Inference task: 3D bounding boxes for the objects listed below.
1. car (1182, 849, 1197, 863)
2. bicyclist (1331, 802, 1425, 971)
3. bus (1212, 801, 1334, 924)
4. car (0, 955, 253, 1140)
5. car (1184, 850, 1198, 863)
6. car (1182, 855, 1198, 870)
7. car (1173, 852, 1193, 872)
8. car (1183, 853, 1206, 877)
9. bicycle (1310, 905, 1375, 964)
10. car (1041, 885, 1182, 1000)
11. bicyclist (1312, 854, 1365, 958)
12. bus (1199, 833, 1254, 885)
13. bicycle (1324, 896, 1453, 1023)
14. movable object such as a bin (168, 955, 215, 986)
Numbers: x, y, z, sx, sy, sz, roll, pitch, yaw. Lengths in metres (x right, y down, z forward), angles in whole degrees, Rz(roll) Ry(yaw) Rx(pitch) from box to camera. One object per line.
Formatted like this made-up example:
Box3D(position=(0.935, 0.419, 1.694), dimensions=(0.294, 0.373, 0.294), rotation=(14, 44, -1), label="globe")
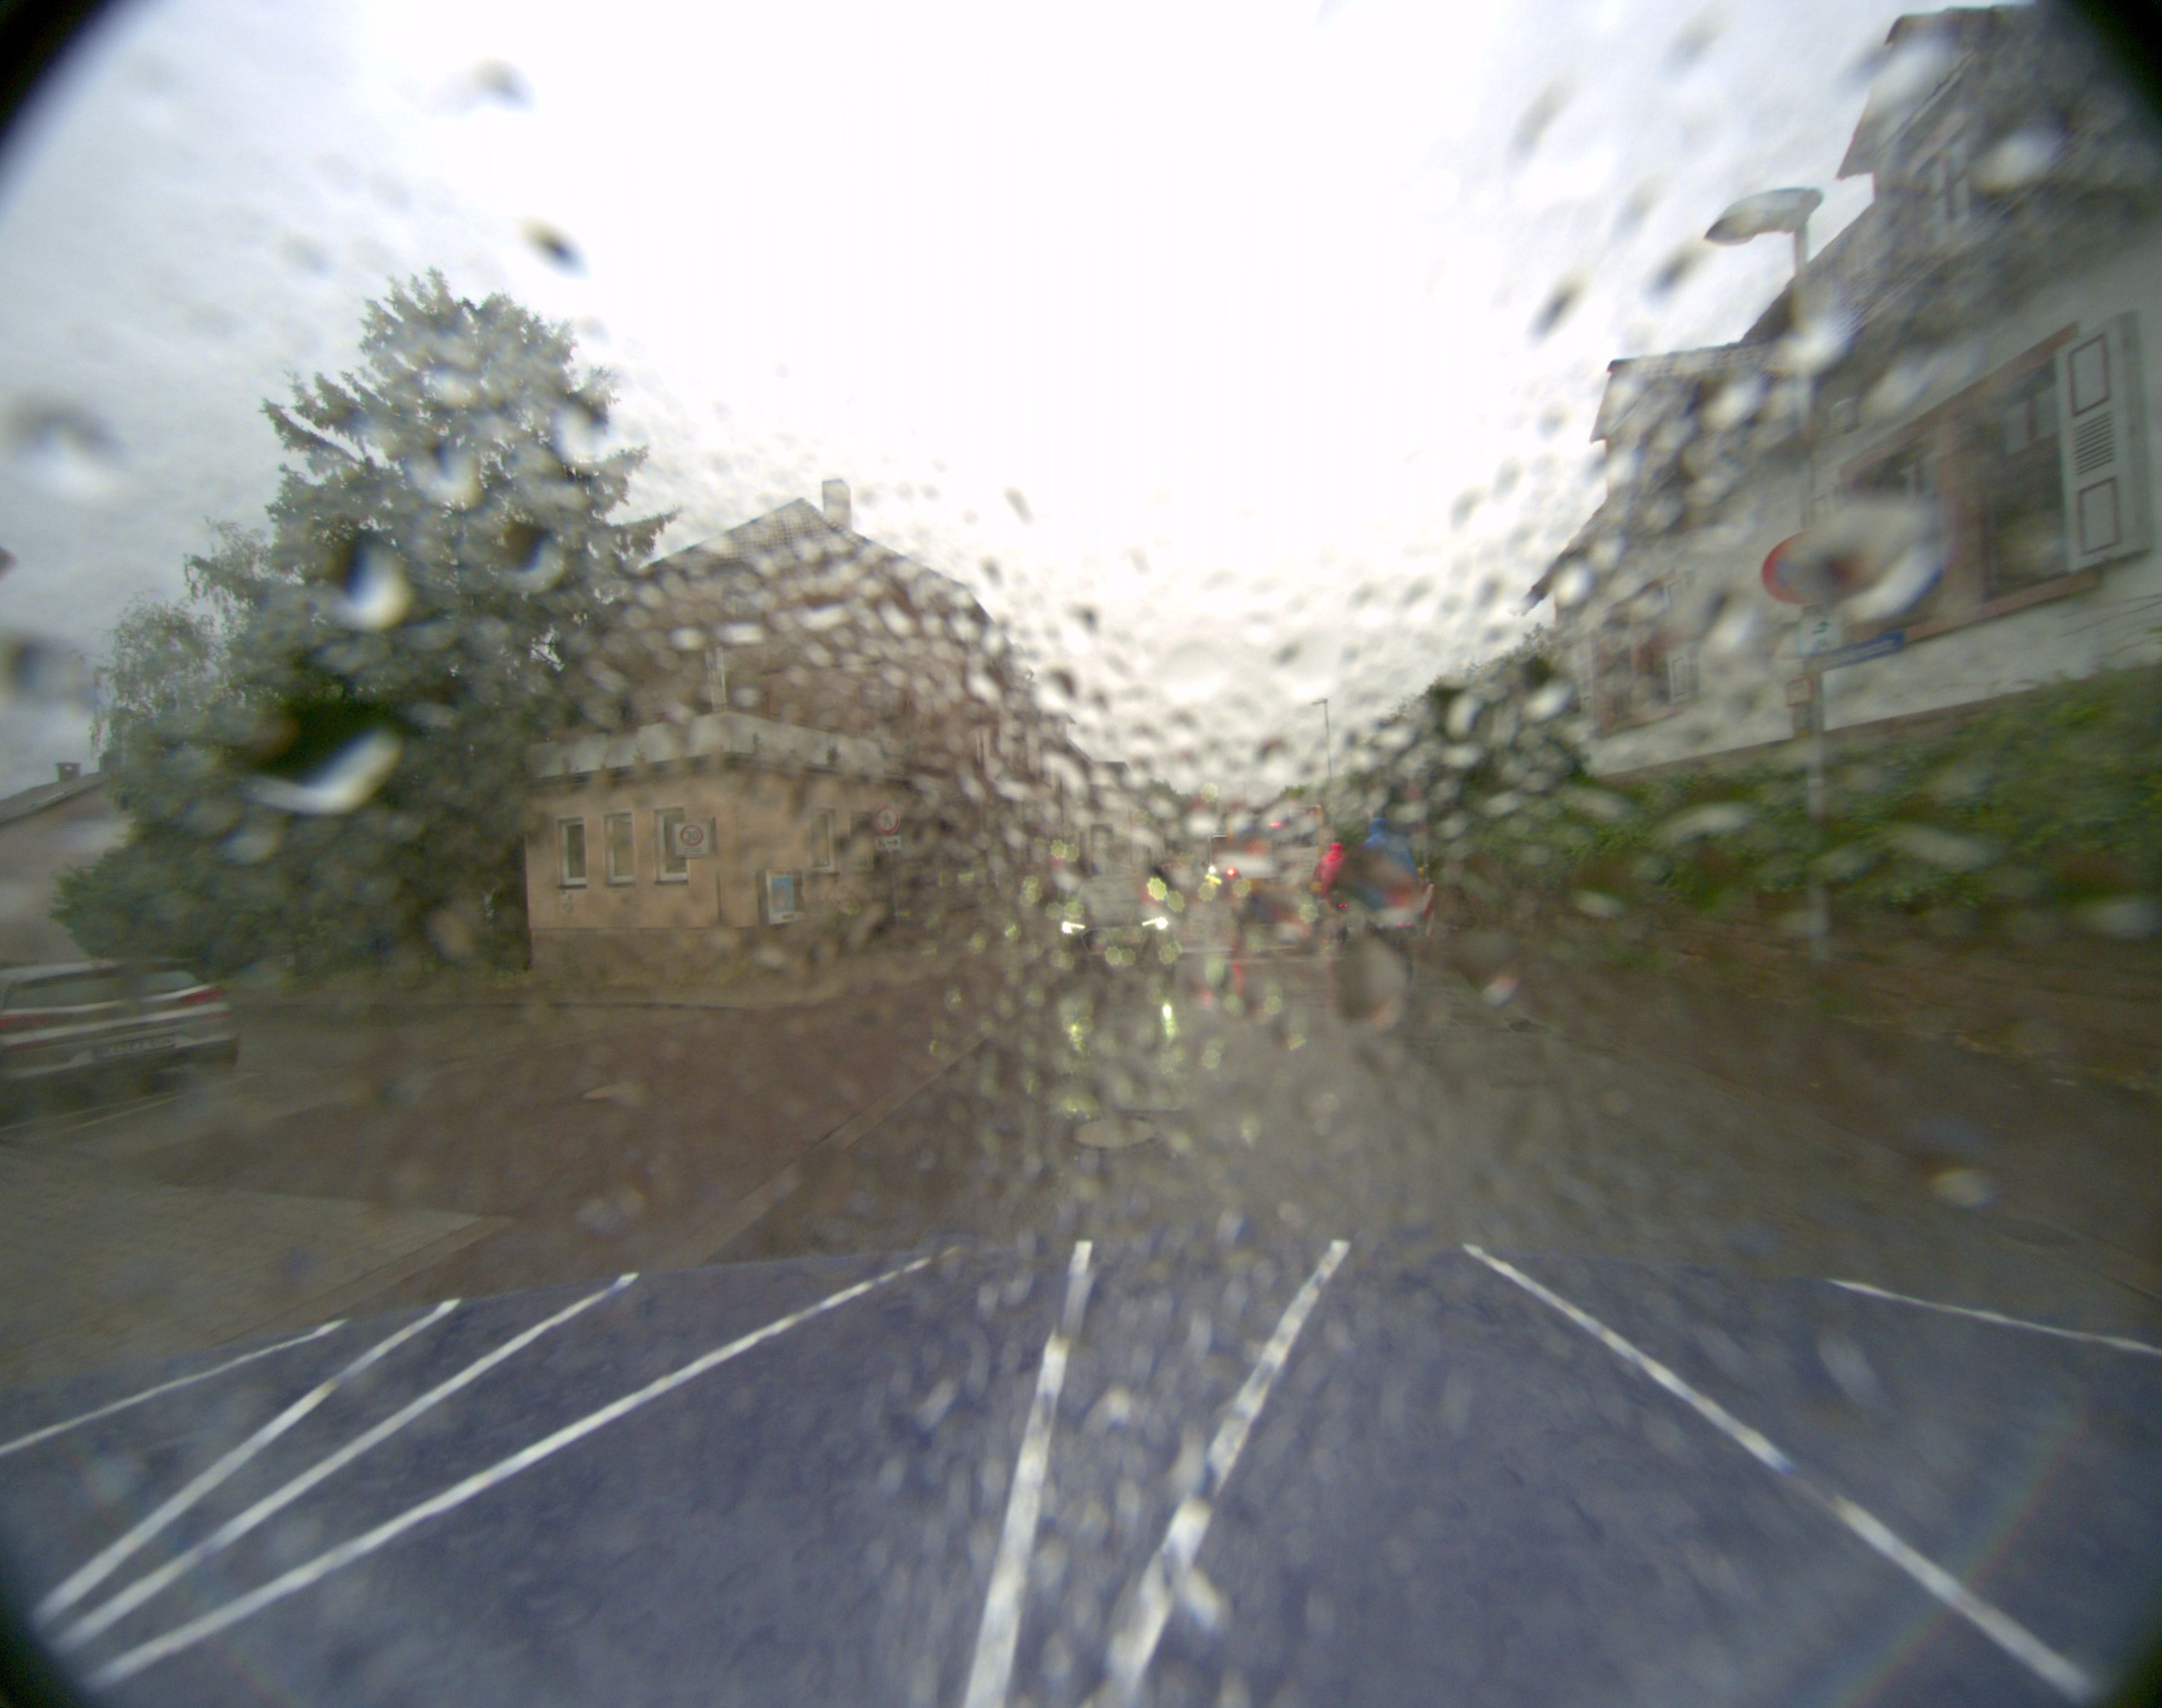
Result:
Box3D(position=(14.485, 0.306, 100.994), dimensions=(1.779, 1.601, 4.190), rotation=(-6, 0, 9), label="car")
Box3D(position=(3.172, 0.344, 8.176), dimensions=(0.689, 1.702, 0.704), rotation=(-4, -2, 8), label="bicyclist")
Box3D(position=(6.034, 0.212, 25.009), dimensions=(2.811, 2.921, 11.951), rotation=(-4, 0, 12), label="bus")
Box3D(position=(-11.418, 2.002, 8.414), dimensions=(3.991, 1.462, 1.795), rotation=(-4, 0, 24), label="car")
Box3D(position=(15.919, 0.330, 109.914), dimensions=(1.779, 1.602, 4.190), rotation=(-4, 0, 8), label="car")
Box3D(position=(12.946, 1.002, 90.378), dimensions=(1.779, 1.601, 4.190), rotation=(-4, 0, 7), label="car")
Box3D(position=(10.204, 0.763, 75.616), dimensions=(1.779, 1.787, 4.190), rotation=(-4, 0, 8), label="car")
Box3D(position=(9.526, 0.872, 63.734), dimensions=(1.779, 1.787, 4.190), rotation=(-4, 0, 8), label="car")
Box3D(position=(4.577, 1.389, 13.413), dimensions=(0.662, 0.865, 1.936), rotation=(-4, -2, 8), label="bicycle")
Box3D(position=(0.682, 1.320, 12.585), dimensions=(1.779, 1.348, 4.191), rotation=(-5, -1, 8), label="car")
Box3D(position=(4.567, 0.917, 13.511), dimensions=(0.658, 1.759, 0.704), rotation=(-4, -2, 8), label="bicyclist")
Box3D(position=(11.305, 0.264, 57.785), dimensions=(3.437, 3.391, 13.883), rotation=(-3, 0, 13), label="bus")
Box3D(position=(3.250, 1.059, 8.284), dimensions=(0.682, 1.044, 2.341), rotation=(-4, -1, 8), label="bicycle")
Box3D(position=(-25.550, 3.341, 21.829), dimensions=(0.741, 0.762, 0.700), rotation=(-4, 1, 27), label="movable object such as a bin")
